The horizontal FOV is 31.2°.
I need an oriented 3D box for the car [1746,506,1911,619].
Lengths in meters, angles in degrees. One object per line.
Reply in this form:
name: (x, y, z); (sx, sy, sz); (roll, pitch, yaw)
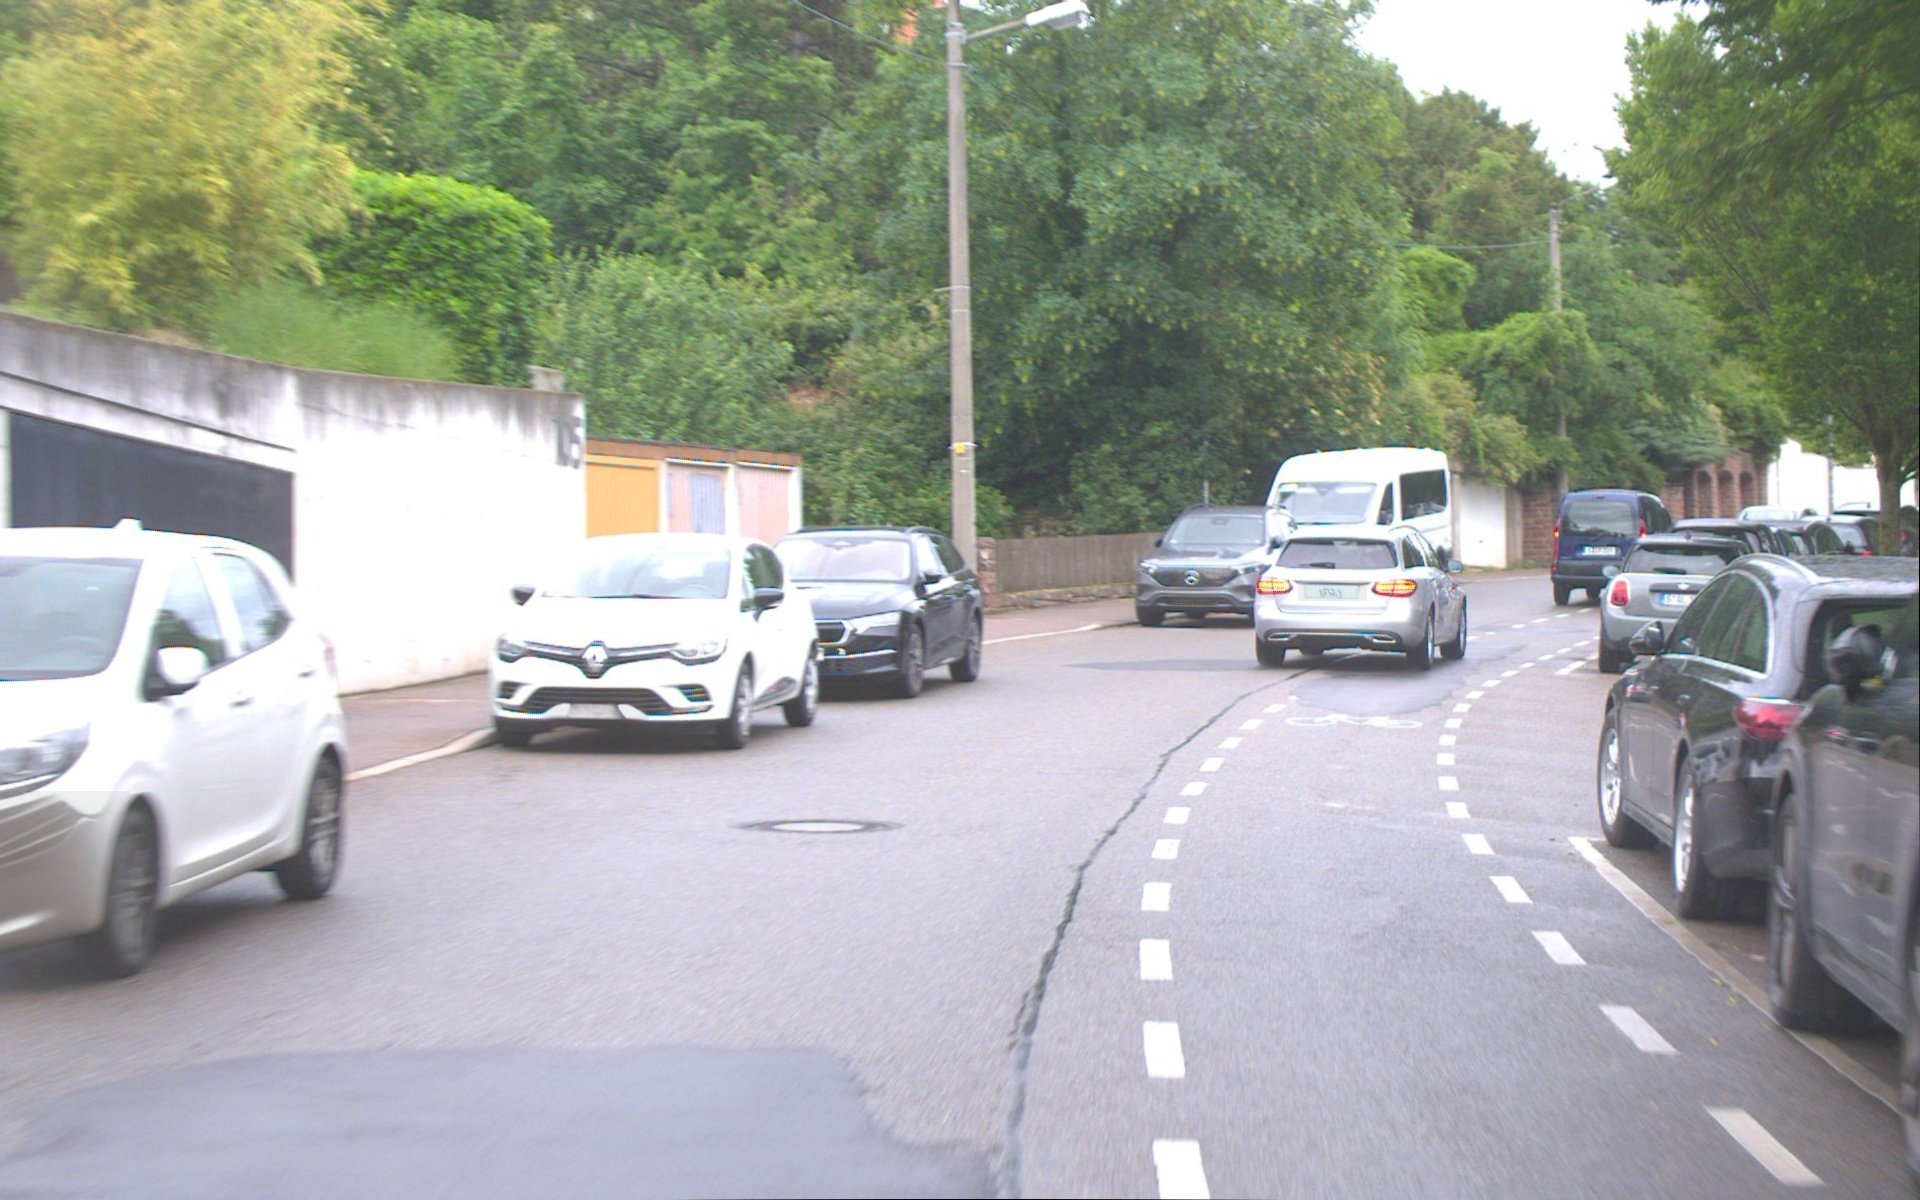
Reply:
car: (12.930, -0.593, 50.985); (1.778, 1.547, 4.723); (2, 2, 21)

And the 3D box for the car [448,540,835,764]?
car: (-2.159, 0.305, 24.431); (1.833, 1.435, 4.039); (0, 1, 8)

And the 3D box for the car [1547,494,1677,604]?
car: (10.643, -0.836, 56.011); (1.994, 1.702, 3.998); (1, 1, 11)

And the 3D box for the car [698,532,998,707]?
car: (-0.922, 0.116, 31.116); (1.713, 1.454, 4.680); (0, 1, 11)

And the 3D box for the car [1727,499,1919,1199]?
car: (3.393, 0.567, 9.372); (2.054, 1.650, 5.234); (0, 1, 7)

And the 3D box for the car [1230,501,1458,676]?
car: (4.097, -0.151, 36.102); (2.026, 1.702, 4.214); (1, 1, 11)

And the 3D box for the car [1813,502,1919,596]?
car: (16.694, -0.953, 62.039); (1.716, 1.550, 4.158); (3, 3, 25)

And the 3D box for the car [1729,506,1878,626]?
car: (11.381, -0.491, 46.249); (1.655, 1.514, 3.997); (2, 2, 17)

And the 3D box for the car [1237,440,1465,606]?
car: (6.462, -1.290, 56.111); (2.096, 2.541, 6.090); (0, 2, 22)

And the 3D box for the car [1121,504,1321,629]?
car: (3.745, -0.504, 48.631); (1.897, 1.685, 4.542); (0, 1, 16)

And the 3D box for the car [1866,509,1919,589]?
car: (18.925, -1.018, 66.971); (1.651, 1.476, 4.014); (2, 2, 27)

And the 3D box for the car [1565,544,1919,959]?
car: (3.879, 0.541, 15.157); (1.862, 1.464, 5.055); (3, 1, 5)

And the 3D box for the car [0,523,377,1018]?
car: (-3.429, 0.486, 12.579); (1.627, 1.510, 3.832); (0, 1, 5)

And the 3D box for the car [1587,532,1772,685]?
car: (7.645, 0.043, 36.326); (1.669, 1.466, 3.707); (2, 2, 15)

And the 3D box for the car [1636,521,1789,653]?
car: (9.450, -0.194, 43.055); (1.628, 1.557, 3.020); (1, 2, 17)

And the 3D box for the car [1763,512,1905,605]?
car: (14.548, -0.716, 57.075); (1.645, 1.419, 4.283); (2, 2, 22)
